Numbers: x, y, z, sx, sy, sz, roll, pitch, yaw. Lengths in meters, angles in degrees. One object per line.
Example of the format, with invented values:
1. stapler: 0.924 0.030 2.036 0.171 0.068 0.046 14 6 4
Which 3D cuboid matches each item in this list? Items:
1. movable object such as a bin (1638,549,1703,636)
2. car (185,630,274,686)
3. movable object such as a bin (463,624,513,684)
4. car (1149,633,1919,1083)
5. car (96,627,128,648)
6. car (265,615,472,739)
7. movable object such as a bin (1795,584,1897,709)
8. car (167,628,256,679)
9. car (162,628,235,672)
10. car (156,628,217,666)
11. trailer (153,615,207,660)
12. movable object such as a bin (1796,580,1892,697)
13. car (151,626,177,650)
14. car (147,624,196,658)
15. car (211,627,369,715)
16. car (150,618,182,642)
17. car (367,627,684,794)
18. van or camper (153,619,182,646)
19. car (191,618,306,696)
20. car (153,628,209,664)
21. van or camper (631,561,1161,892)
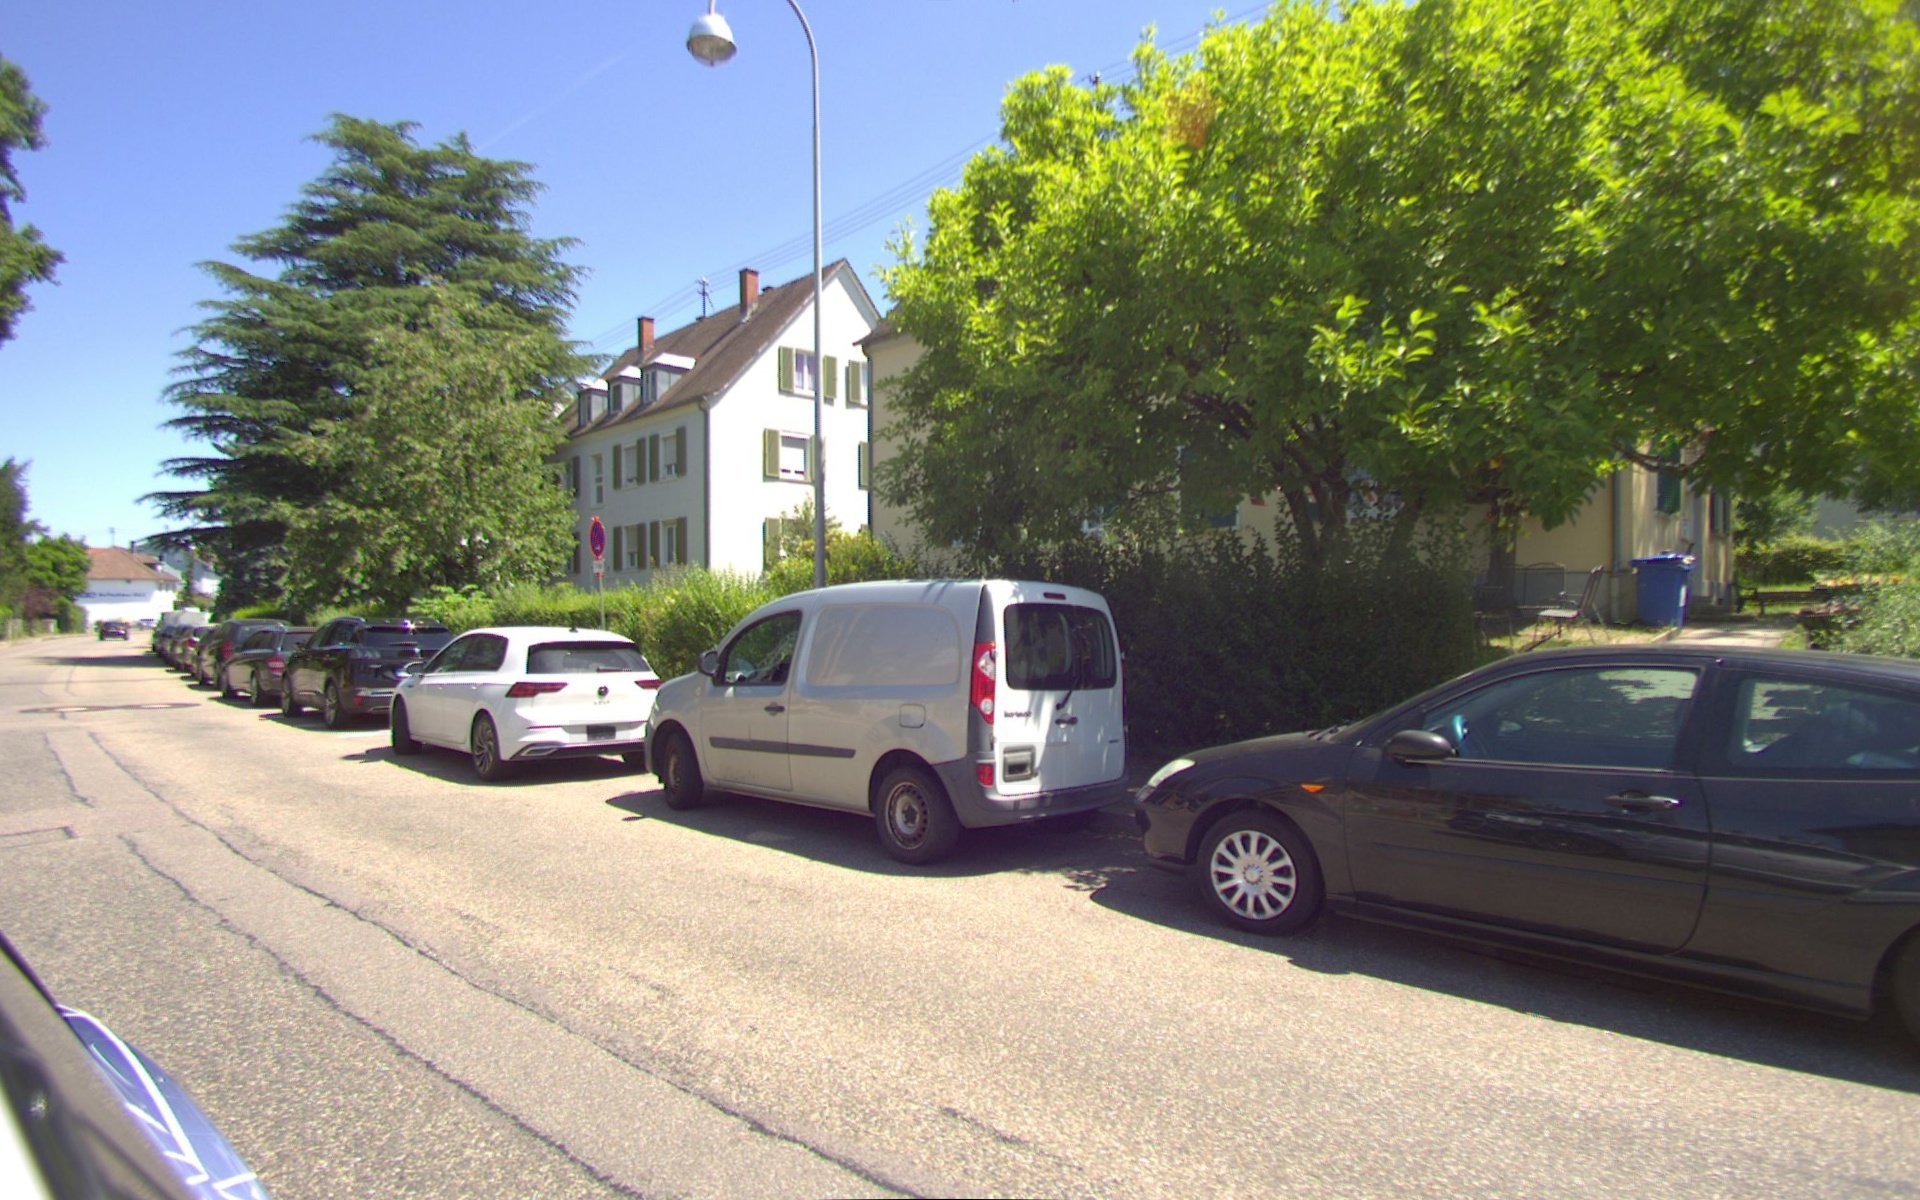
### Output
1. movable object such as a bin: 10.167 -0.091 14.478 0.674 1.205 0.614 -2 -1 43
2. car: -19.972 1.534 27.608 1.660 1.412 3.796 2 -3 -40
3. movable object such as a bin: -10.804 1.215 23.173 0.744 1.342 0.964 2 -3 -45
4. car: 2.976 0.879 4.476 3.924 1.423 1.663 -1 -3 41
5. car: -68.251 2.988 81.419 1.875 1.587 4.147 1 -2 -41
6. car: -9.217 1.092 15.619 4.332 1.649 1.662 -1 -3 45
7. movable object such as a bin: 7.573 0.383 8.662 0.622 1.018 0.664 -2 -1 42
8. car: -23.110 1.613 31.201 1.775 1.453 3.789 3 -3 -42
9. car: -26.620 1.715 35.310 1.774 1.453 4.279 2 -3 -40
10. car: -30.889 1.848 40.399 1.774 1.453 3.903 2 -3 -39
11. trailer: -37.502 1.801 48.605 1.791 2.049 4.006 3 -3 -40
12. movable object such as a bin: 8.042 0.339 9.216 0.622 1.018 0.664 -2 -1 42
13. car: -52.521 2.510 66.765 1.288 1.589 2.326 2 -2 -38
14. car: -40.380 2.077 51.798 1.746 1.631 4.556 3 -3 -40
15. car: -12.982 1.288 19.493 4.332 1.487 1.662 -1 -3 45
16. car: -61.684 2.301 78.654 1.864 1.772 3.620 3 -3 -37
17. car: -4.844 1.035 10.955 4.249 1.452 1.662 -1 -3 45
18. van or camper: -55.572 2.284 70.987 1.559 1.784 3.896 2 -2 -38
19. car: -16.633 1.282 23.605 1.661 1.652 3.794 3 -3 -43
20. car: -33.827 1.961 43.899 1.773 1.453 4.484 2 -3 -39
21. van or camper: -0.663 0.753 7.556 3.985 1.818 1.662 -1 -3 43
